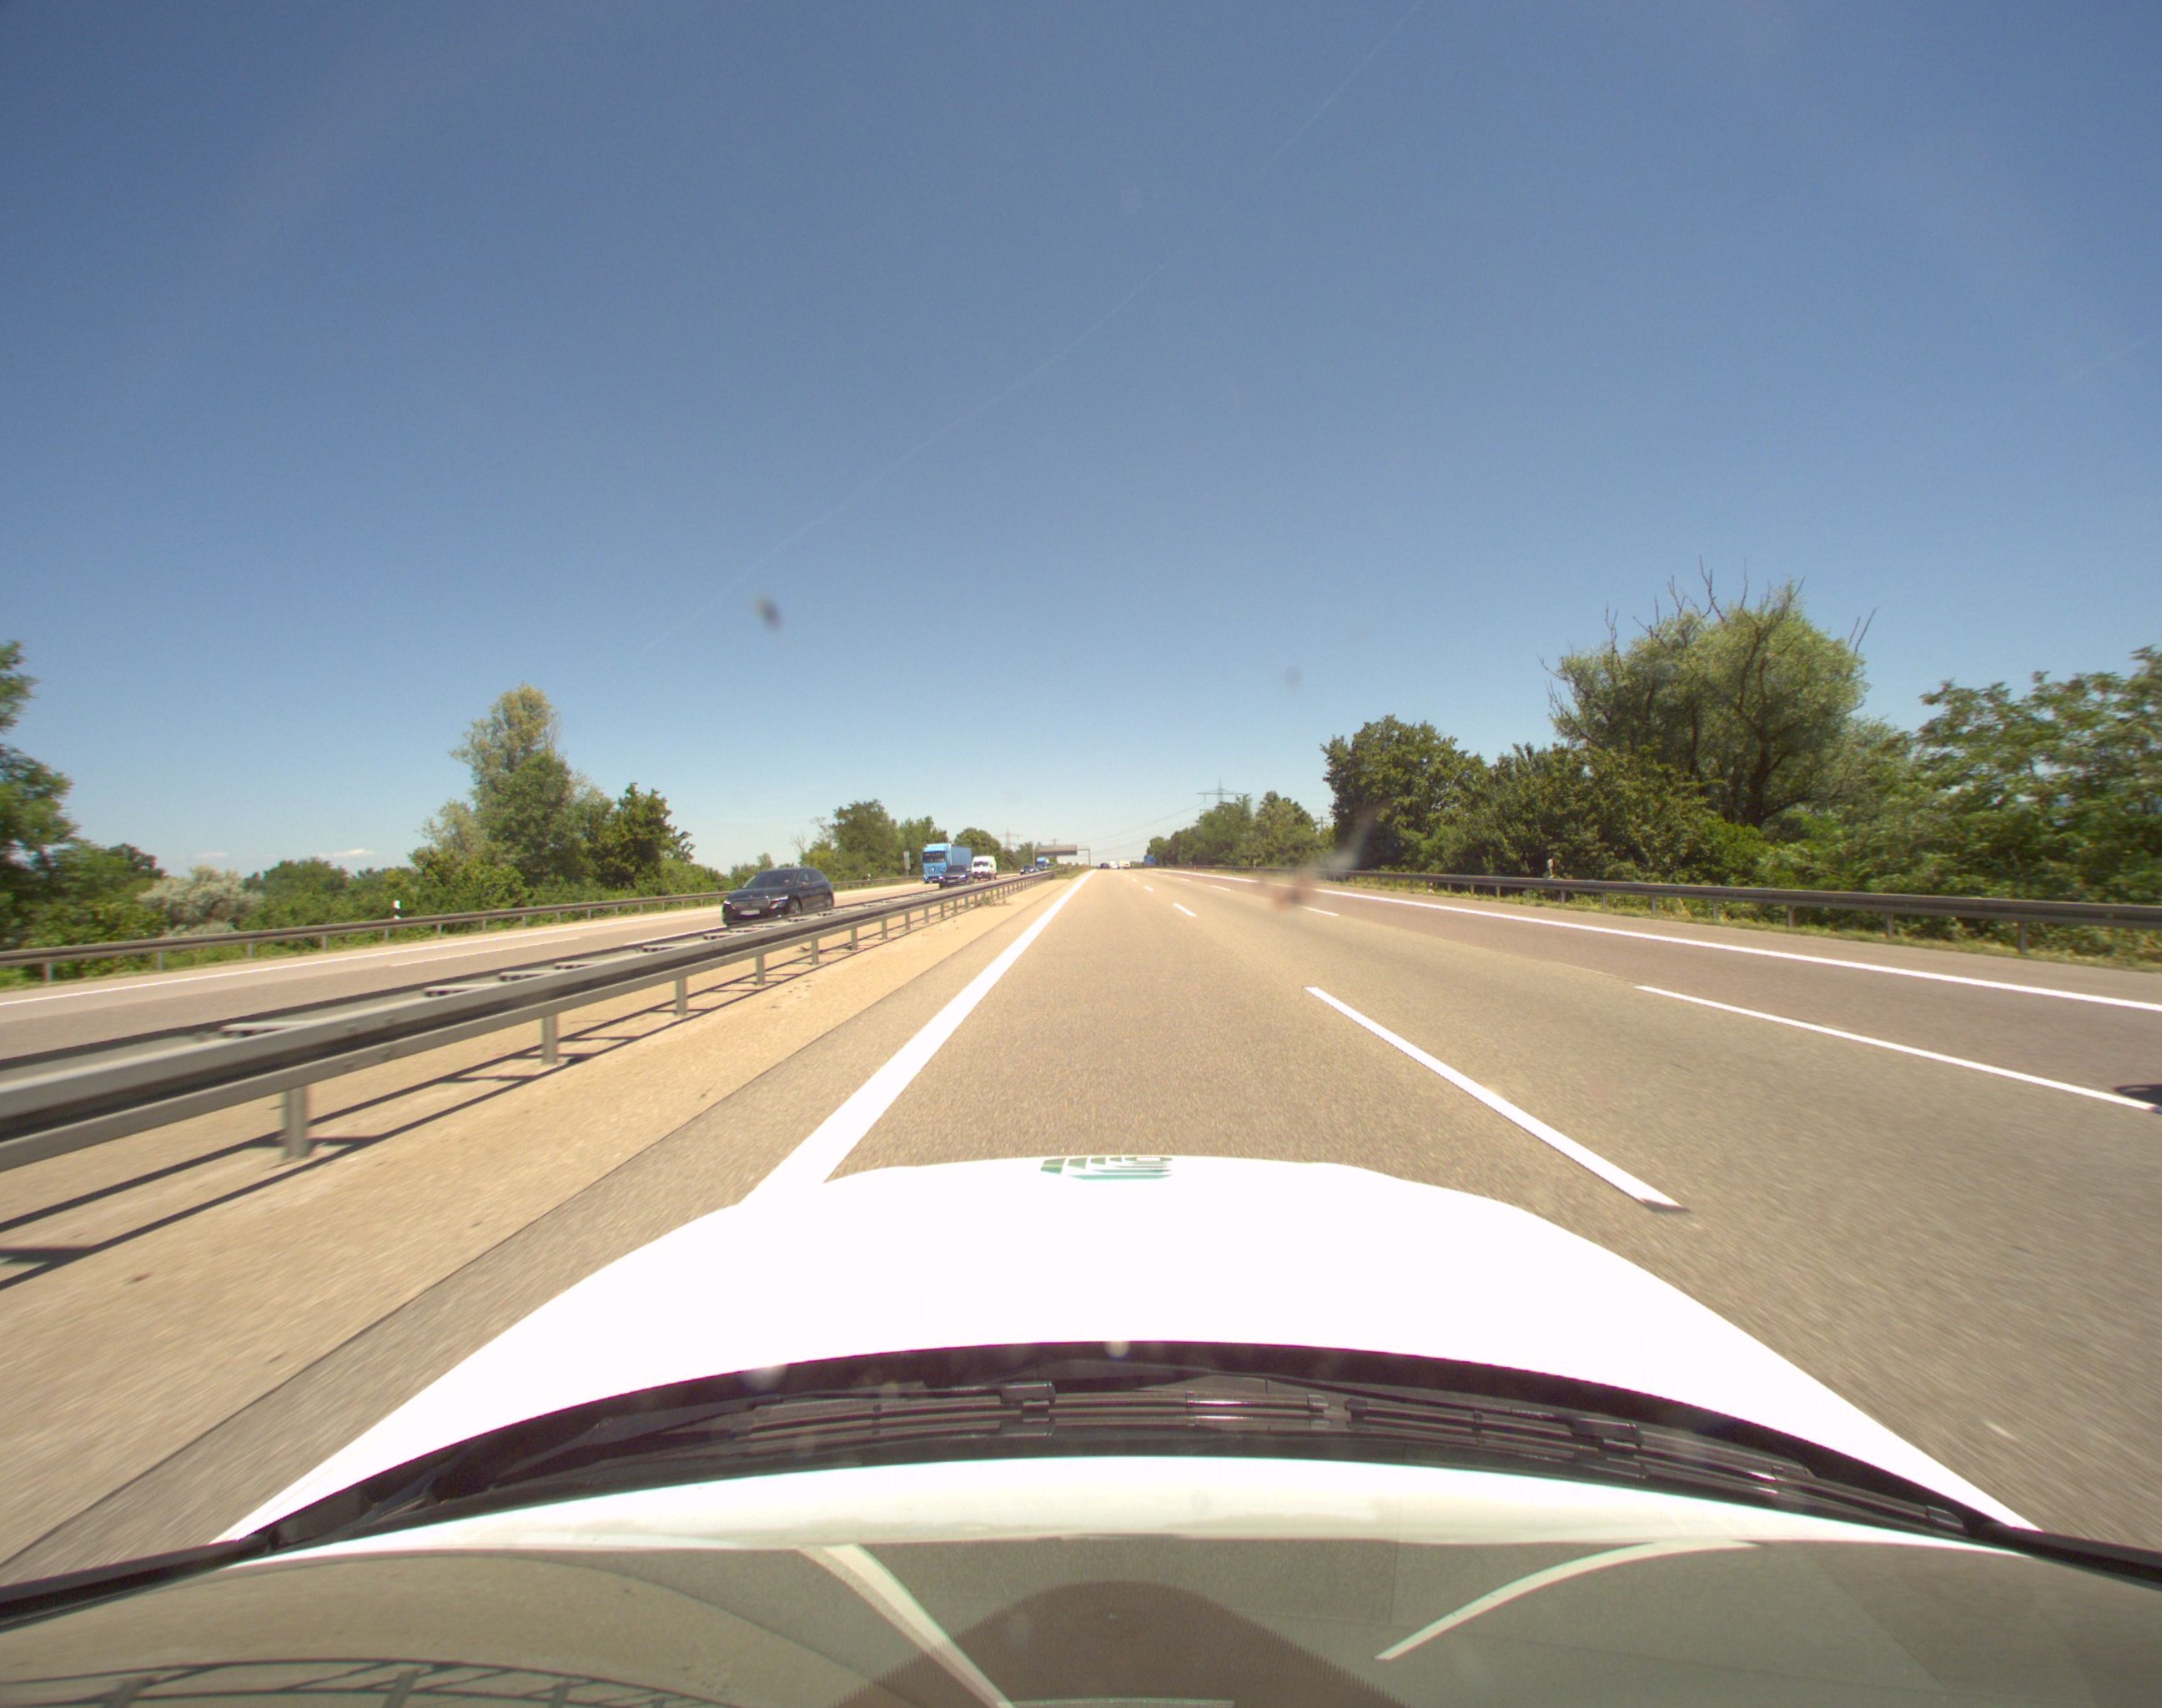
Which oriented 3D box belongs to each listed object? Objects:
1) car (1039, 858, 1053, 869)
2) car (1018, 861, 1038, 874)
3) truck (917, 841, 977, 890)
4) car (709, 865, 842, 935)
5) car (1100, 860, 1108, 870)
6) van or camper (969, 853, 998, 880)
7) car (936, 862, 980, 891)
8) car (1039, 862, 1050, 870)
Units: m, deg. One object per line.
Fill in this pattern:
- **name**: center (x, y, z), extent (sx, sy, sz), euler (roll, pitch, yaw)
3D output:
- **car**: center (-6.010, 1.599, 139.676), extent (1.986, 1.730, 5.109), euler (-2, -1, 2)
- **car**: center (-6.455, 1.647, 100.006), extent (1.986, 1.484, 4.788), euler (-2, -1, 2)
- **truck**: center (-14.624, 1.264, 90.751), extent (3.215, 4.720, 16.861), euler (-4, -1, 1)
- **car**: center (-8.599, 1.224, 23.396), extent (1.986, 1.690, 4.409), euler (-2, 0, 1)
- **car**: center (5.116, 2.456, 181.817), extent (1.784, 2.014, 3.889), euler (0, -1, 2)
- **van or camper**: center (-10.376, 1.326, 86.828), extent (1.987, 2.566, 7.035), euler (-4, -1, 0)
- **car**: center (-8.016, 1.464, 53.432), extent (1.986, 1.690, 4.409), euler (-3, 0, 1)
- **car**: center (-7.871, 2.556, 176.568), extent (1.986, 1.618, 4.000), euler (-2, -1, 1)
